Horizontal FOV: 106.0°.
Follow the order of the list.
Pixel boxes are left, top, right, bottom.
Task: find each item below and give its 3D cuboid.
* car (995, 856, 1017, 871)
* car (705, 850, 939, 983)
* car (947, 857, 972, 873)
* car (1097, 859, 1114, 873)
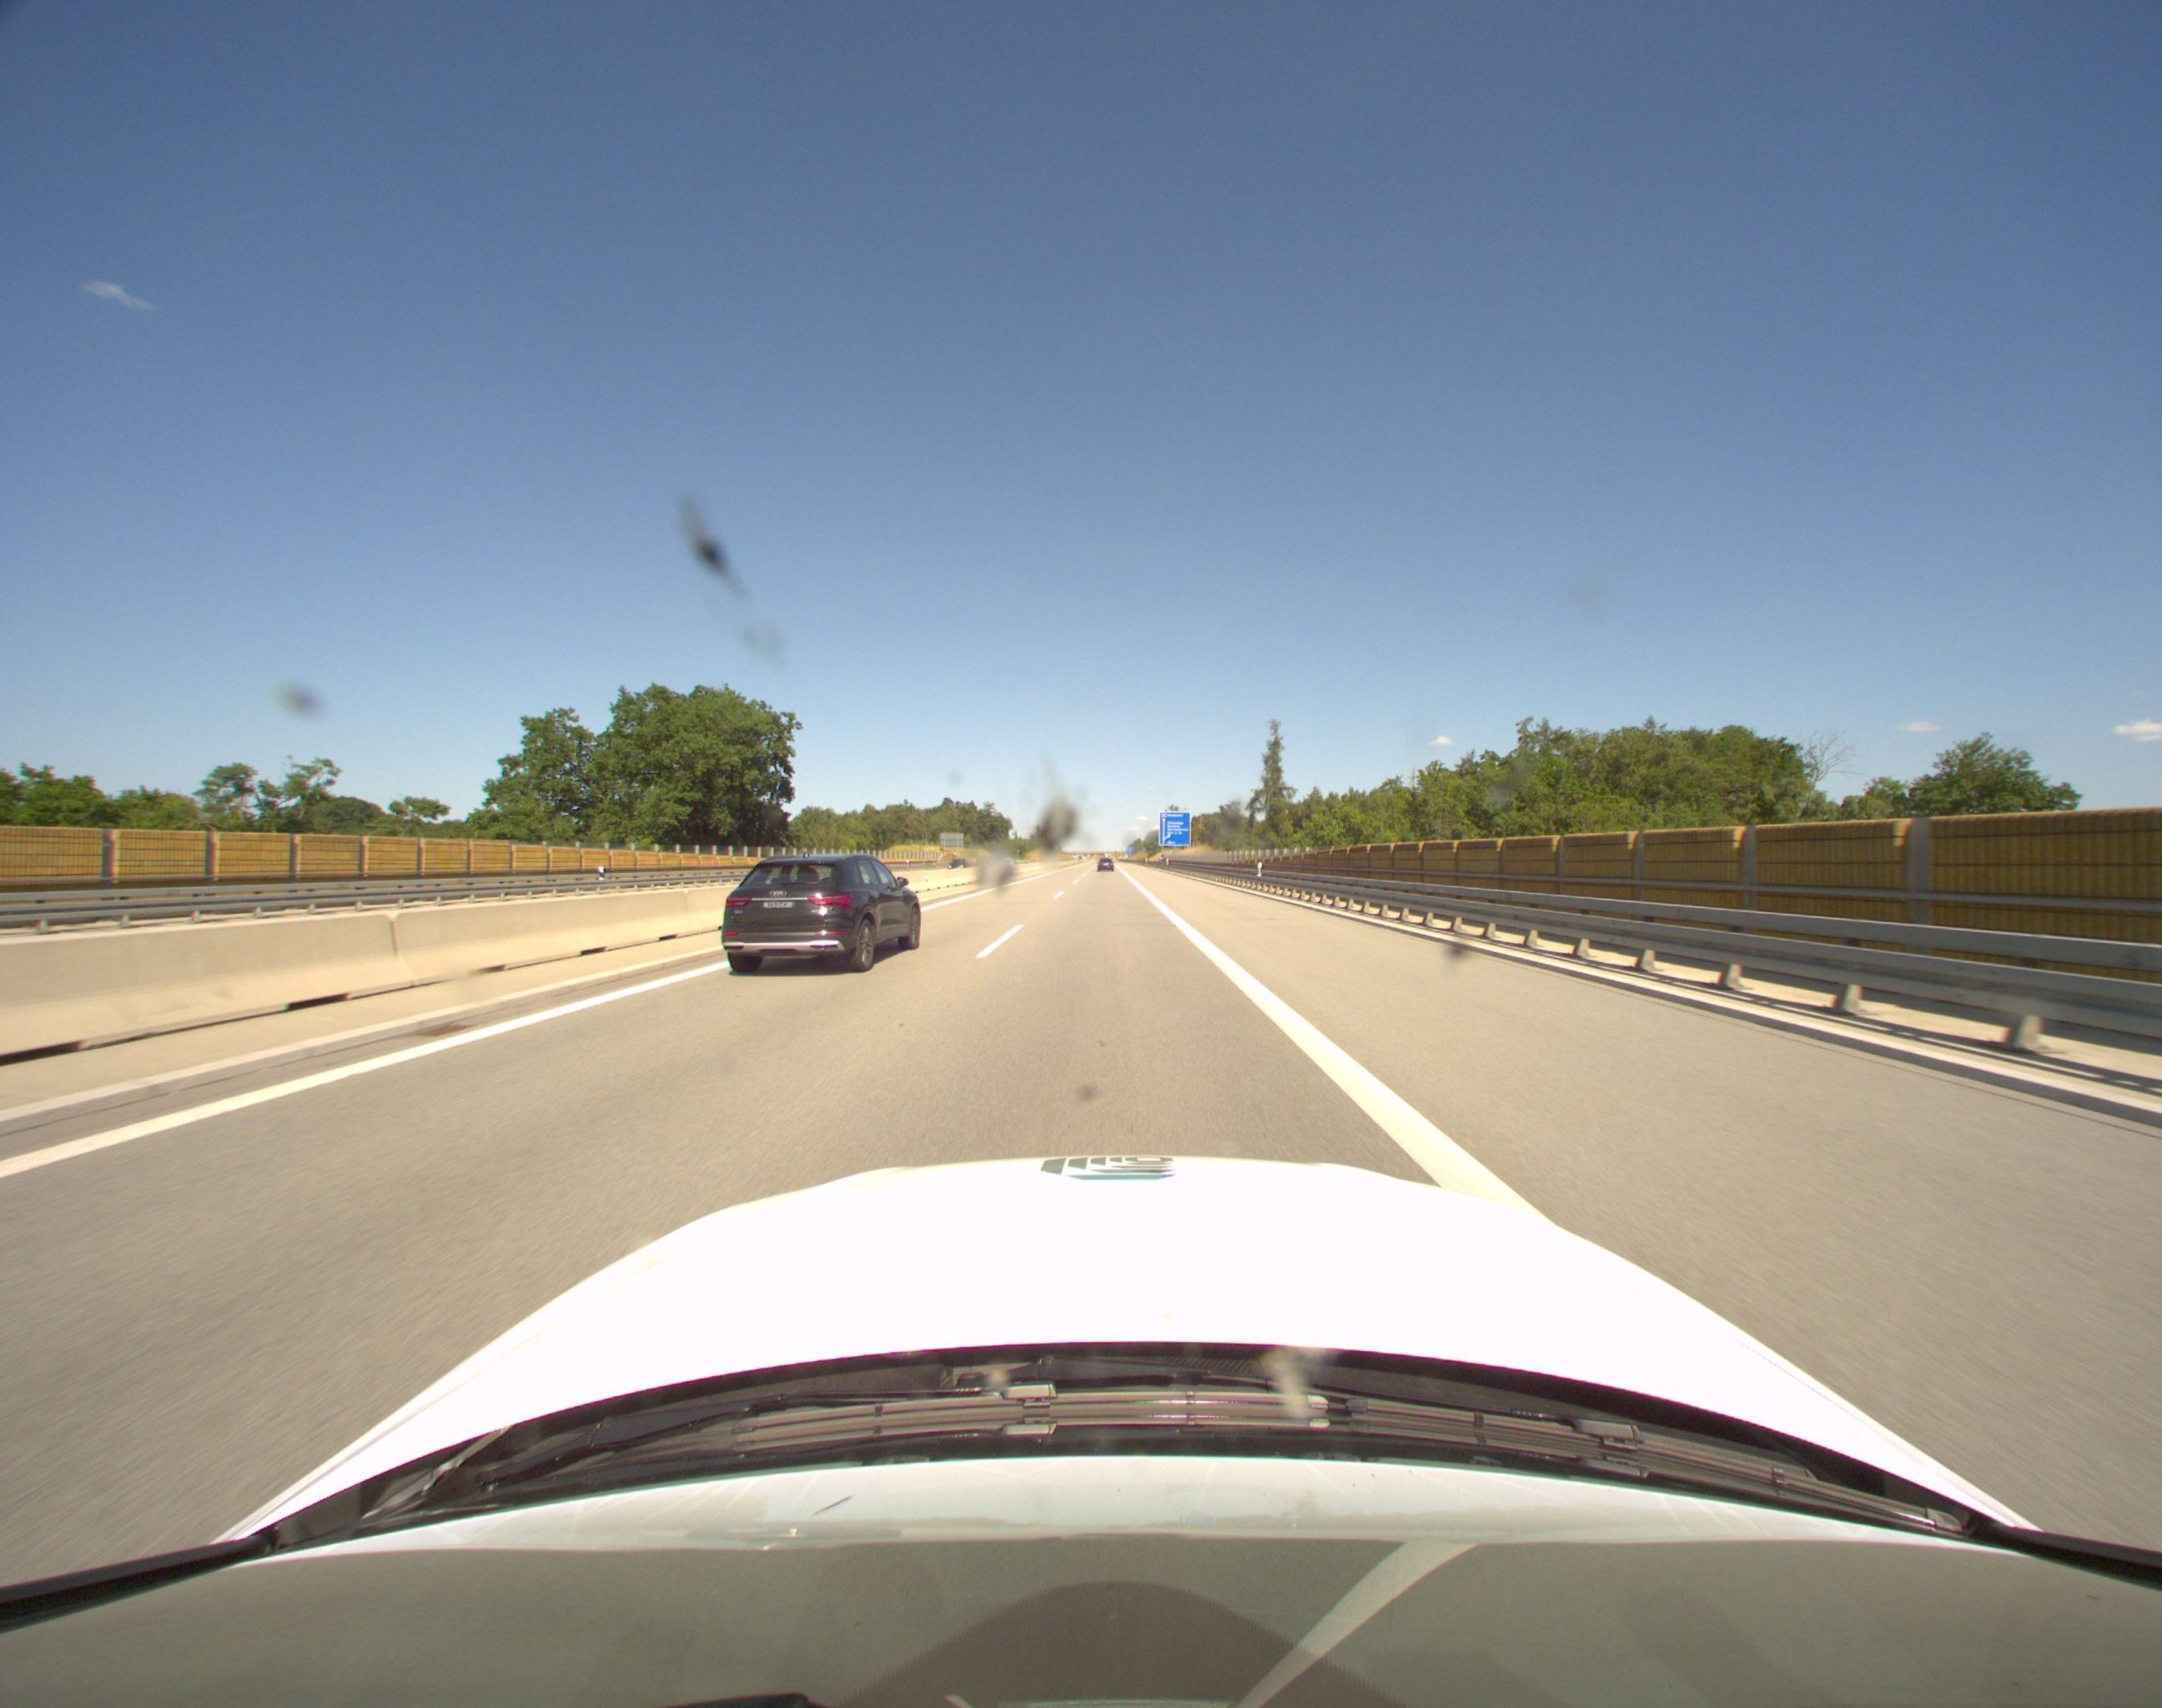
[{"bbox_3d":[-7.901,1.019,86.207,1.721,1.502,4.626,-1,0,1],"label":"car"},{"bbox_3d":[-3.596,0.763,12.455,1.715,1.587,5.225,-1,0,2],"label":"car"},{"bbox_3d":[-11.696,1.050,78.568,1.574,1.458,4.451,-1,0,1],"label":"car"},{"bbox_3d":[2.679,1.269,87.426,1.783,1.374,3.919,0,0,2],"label":"car"}]
